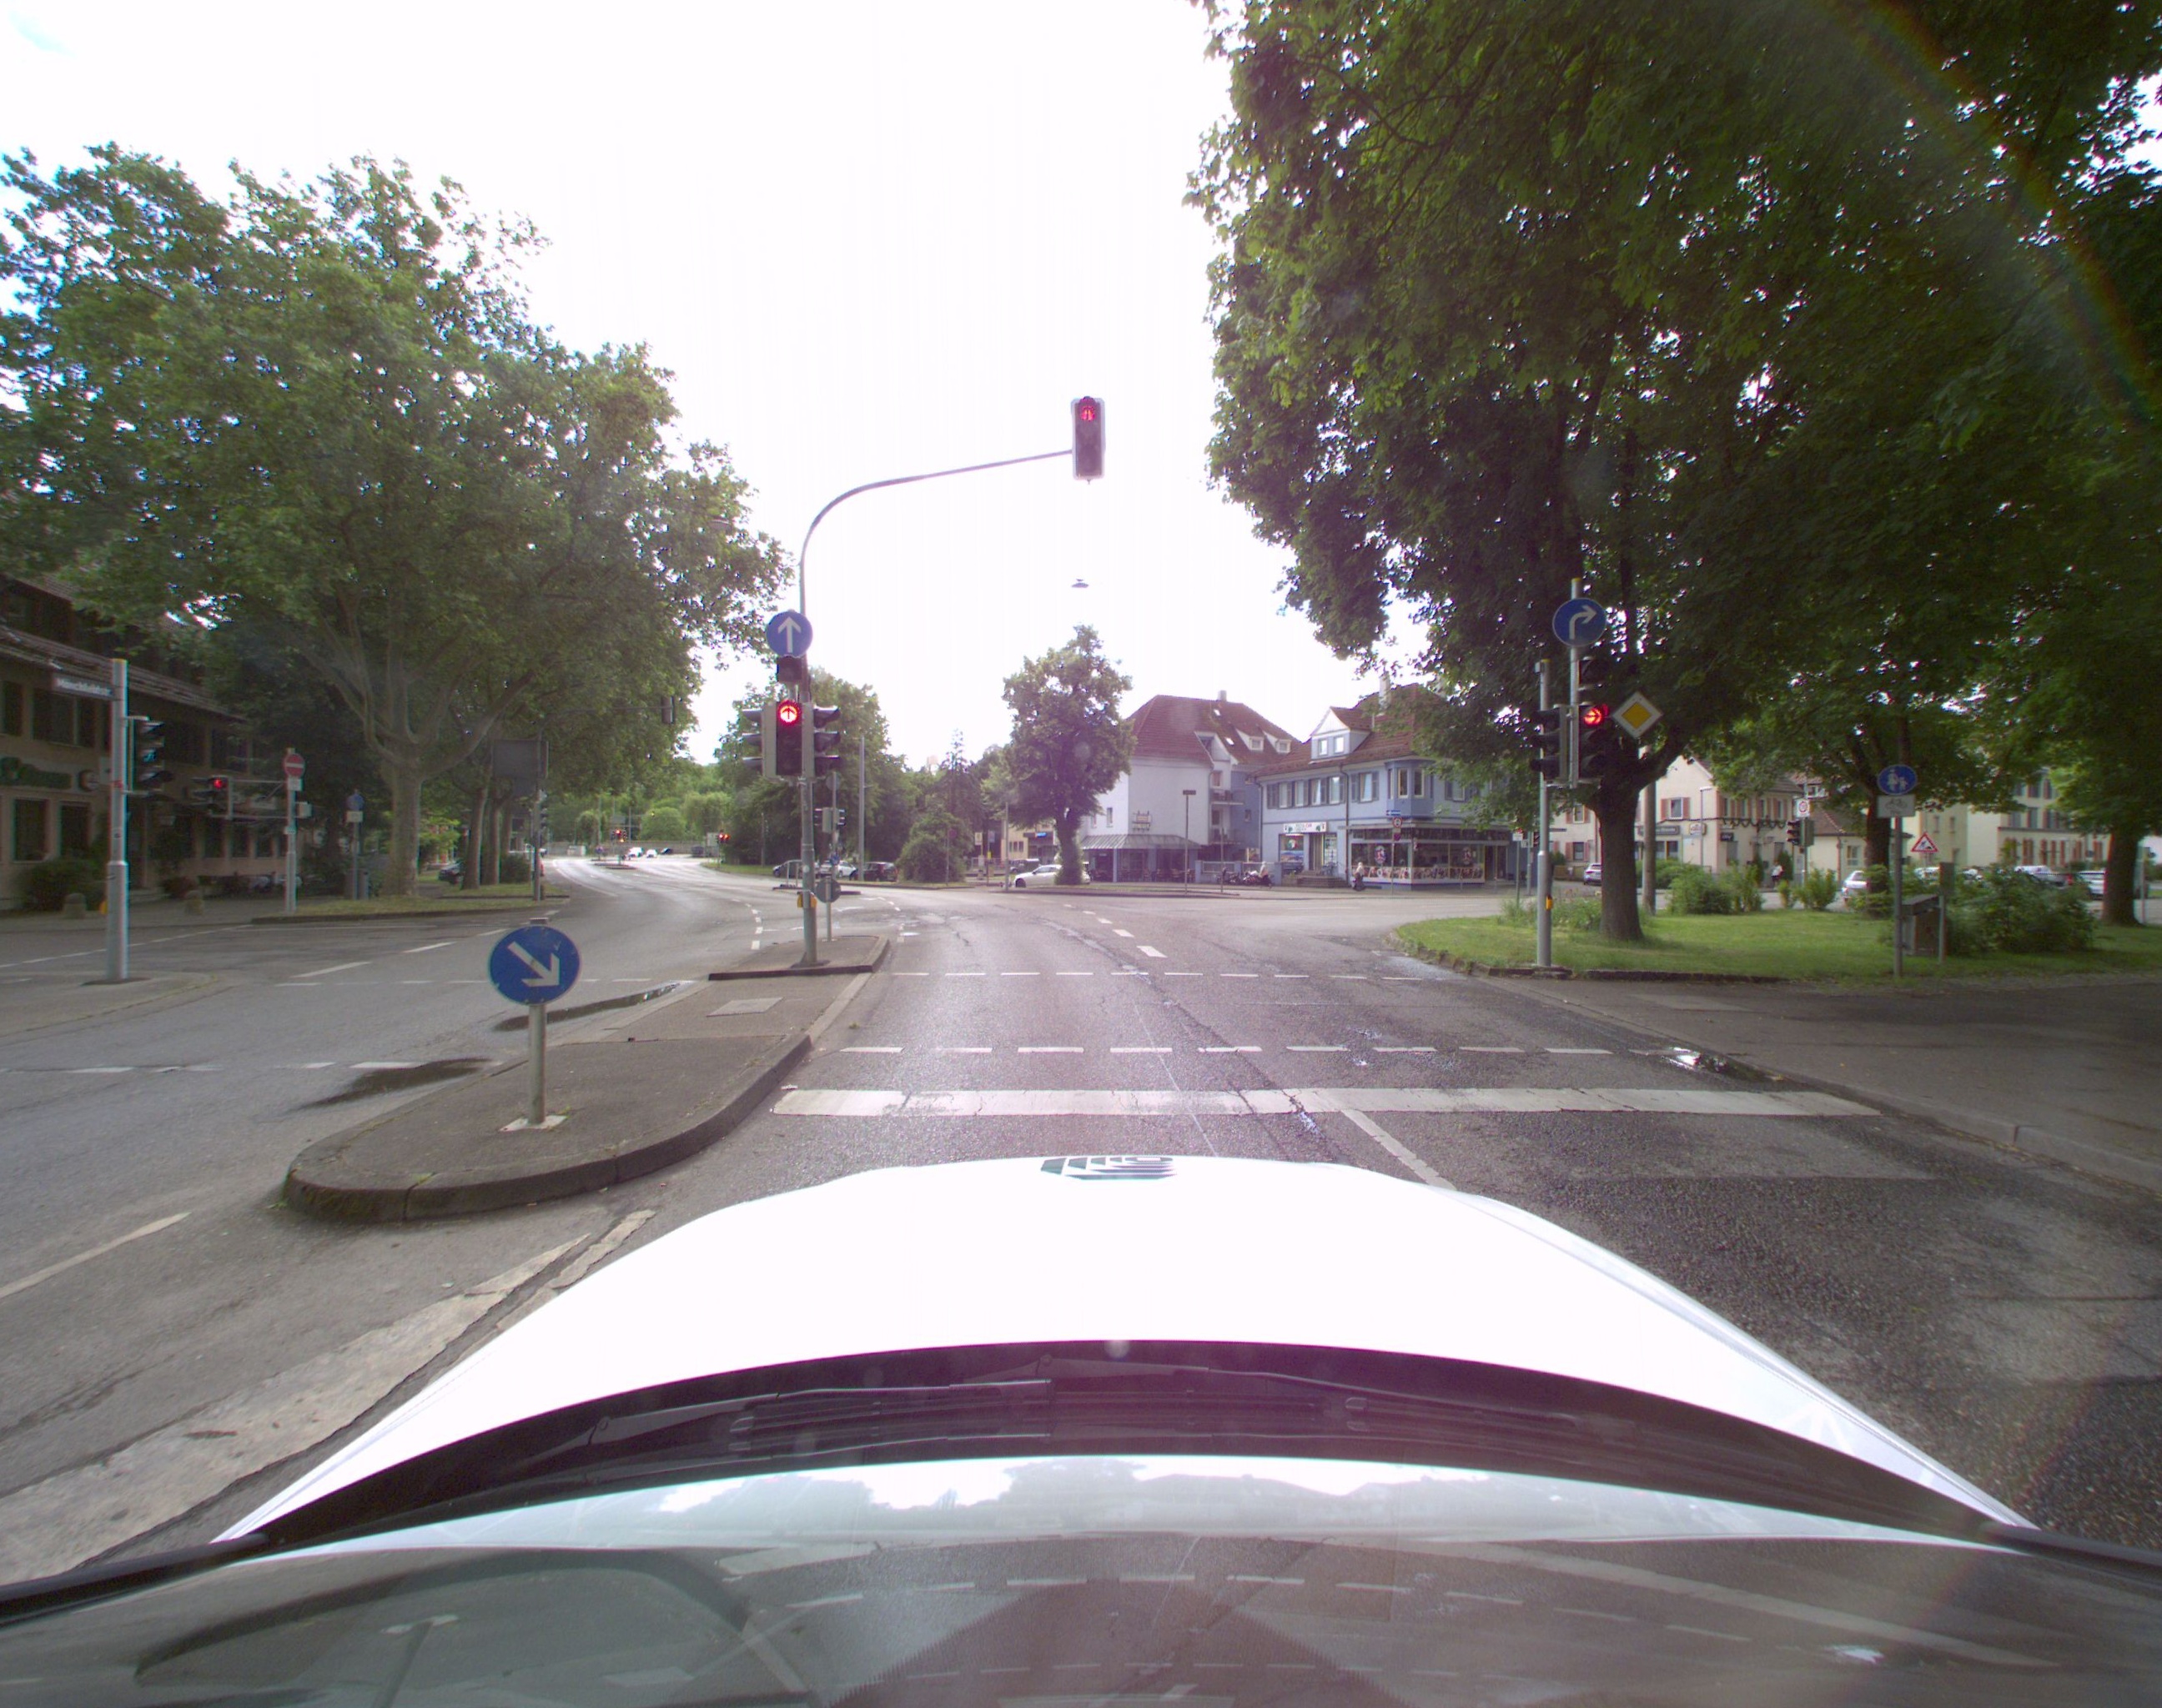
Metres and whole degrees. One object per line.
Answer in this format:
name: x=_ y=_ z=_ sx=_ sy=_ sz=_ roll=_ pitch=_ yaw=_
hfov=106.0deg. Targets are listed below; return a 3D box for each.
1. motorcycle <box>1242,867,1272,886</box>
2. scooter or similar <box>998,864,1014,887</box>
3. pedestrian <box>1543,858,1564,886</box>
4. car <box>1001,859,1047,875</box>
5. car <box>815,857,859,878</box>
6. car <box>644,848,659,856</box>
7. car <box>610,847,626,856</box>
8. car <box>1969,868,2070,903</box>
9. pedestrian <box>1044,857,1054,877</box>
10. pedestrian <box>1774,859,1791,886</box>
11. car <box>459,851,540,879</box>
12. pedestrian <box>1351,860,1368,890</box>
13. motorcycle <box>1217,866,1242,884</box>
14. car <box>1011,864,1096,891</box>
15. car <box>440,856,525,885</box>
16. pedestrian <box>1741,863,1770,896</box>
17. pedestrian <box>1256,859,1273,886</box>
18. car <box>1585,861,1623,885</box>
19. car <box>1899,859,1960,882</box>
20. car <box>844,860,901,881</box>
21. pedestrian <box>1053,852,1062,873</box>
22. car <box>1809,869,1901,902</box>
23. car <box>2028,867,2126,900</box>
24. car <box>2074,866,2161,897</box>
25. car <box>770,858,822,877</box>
motorcycle: x=10.430 y=1.318 z=48.250 sx=1.609 sy=1.088 sz=0.631 roll=-1 pitch=-1 yaw=34
scooter or similar: x=-3.951 y=1.139 z=42.853 sx=0.439 sy=1.175 sz=1.442 roll=-1 pitch=-1 yaw=11
pedestrian: x=26.447 y=0.988 z=45.567 sx=0.671 sy=1.560 sz=0.743 roll=0 pitch=-1 yaw=-13
car: x=-5.314 y=1.232 z=75.925 sx=3.948 sy=1.442 sz=1.742 roll=0 pitch=0 yaw=-18
car: x=-20.130 y=1.083 z=67.417 sx=1.848 sy=1.640 sz=3.768 roll=0 pitch=0 yaw=13
car: x=-83.078 y=-0.387 z=157.443 sx=2.988 sy=1.417 sz=1.509 roll=-1 pitch=-2 yaw=42
car: x=-87.036 y=-0.468 z=153.024 sx=3.293 sy=1.486 sz=1.594 roll=-1 pitch=-2 yaw=43
car: x=42.346 y=1.381 z=36.754 sx=3.731 sy=1.457 sz=1.640 roll=0 pitch=0 yaw=-17
pedestrian: x=-3.189 y=1.295 z=80.935 sx=0.838 sy=2.014 sz=1.051 roll=0 pitch=-1 yaw=-12
pedestrian: x=41.343 y=1.090 z=47.999 sx=0.504 sy=1.560 sz=0.507 roll=0 pitch=-1 yaw=-13
car: x=-36.457 y=0.678 z=51.188 sx=4.015 sy=1.684 sz=1.979 roll=0 pitch=-1 yaw=-34
pedestrian: x=14.741 y=1.092 z=43.102 sx=0.687 sy=1.560 sz=0.671 roll=-1 pitch=-1 yaw=33
motorcycle: x=9.137 y=1.308 z=50.053 sx=1.441 sy=1.088 sz=0.527 roll=-1 pitch=-1 yaw=37
car: x=-1.593 y=1.285 z=45.939 sx=4.654 sy=1.410 sz=1.914 roll=0 pitch=-1 yaw=37
car: x=-35.627 y=0.954 z=48.619 sx=4.015 sy=1.684 sz=1.979 roll=0 pitch=-1 yaw=-34
pedestrian: x=22.014 y=0.824 z=26.577 sx=0.505 sy=1.081 sz=0.514 roll=0 pitch=-1 yaw=-13
pedestrian: x=10.460 y=1.054 z=46.453 sx=0.724 sy=1.560 sz=0.773 roll=-1 pitch=-1 yaw=33
car: x=32.461 y=1.141 z=50.622 sx=1.866 sy=1.391 sz=3.637 roll=0 pitch=0 yaw=31
car: x=55.592 y=1.079 z=53.356 sx=3.871 sy=1.447 sz=1.753 roll=0 pitch=-1 yaw=-28
car: x=-13.823 y=1.053 z=54.010 sx=3.285 sy=1.352 sz=1.791 roll=0 pitch=0 yaw=29
pedestrian: x=-1.717 y=0.613 z=59.432 sx=0.538 sy=1.560 sz=0.470 roll=-1 pitch=-1 yaw=15
car: x=31.779 y=1.277 z=33.460 sx=3.007 sy=1.267 sz=1.455 roll=0 pitch=-1 yaw=-17
car: x=47.081 y=1.373 z=38.516 sx=3.731 sy=1.457 sz=1.640 roll=0 pitch=0 yaw=-17
car: x=52.597 y=1.372 z=41.253 sx=3.731 sy=1.457 sz=1.640 roll=0 pitch=0 yaw=-17
car: x=-22.584 y=1.024 z=64.526 sx=3.742 sy=1.465 sz=1.629 roll=0 pitch=0 yaw=20
